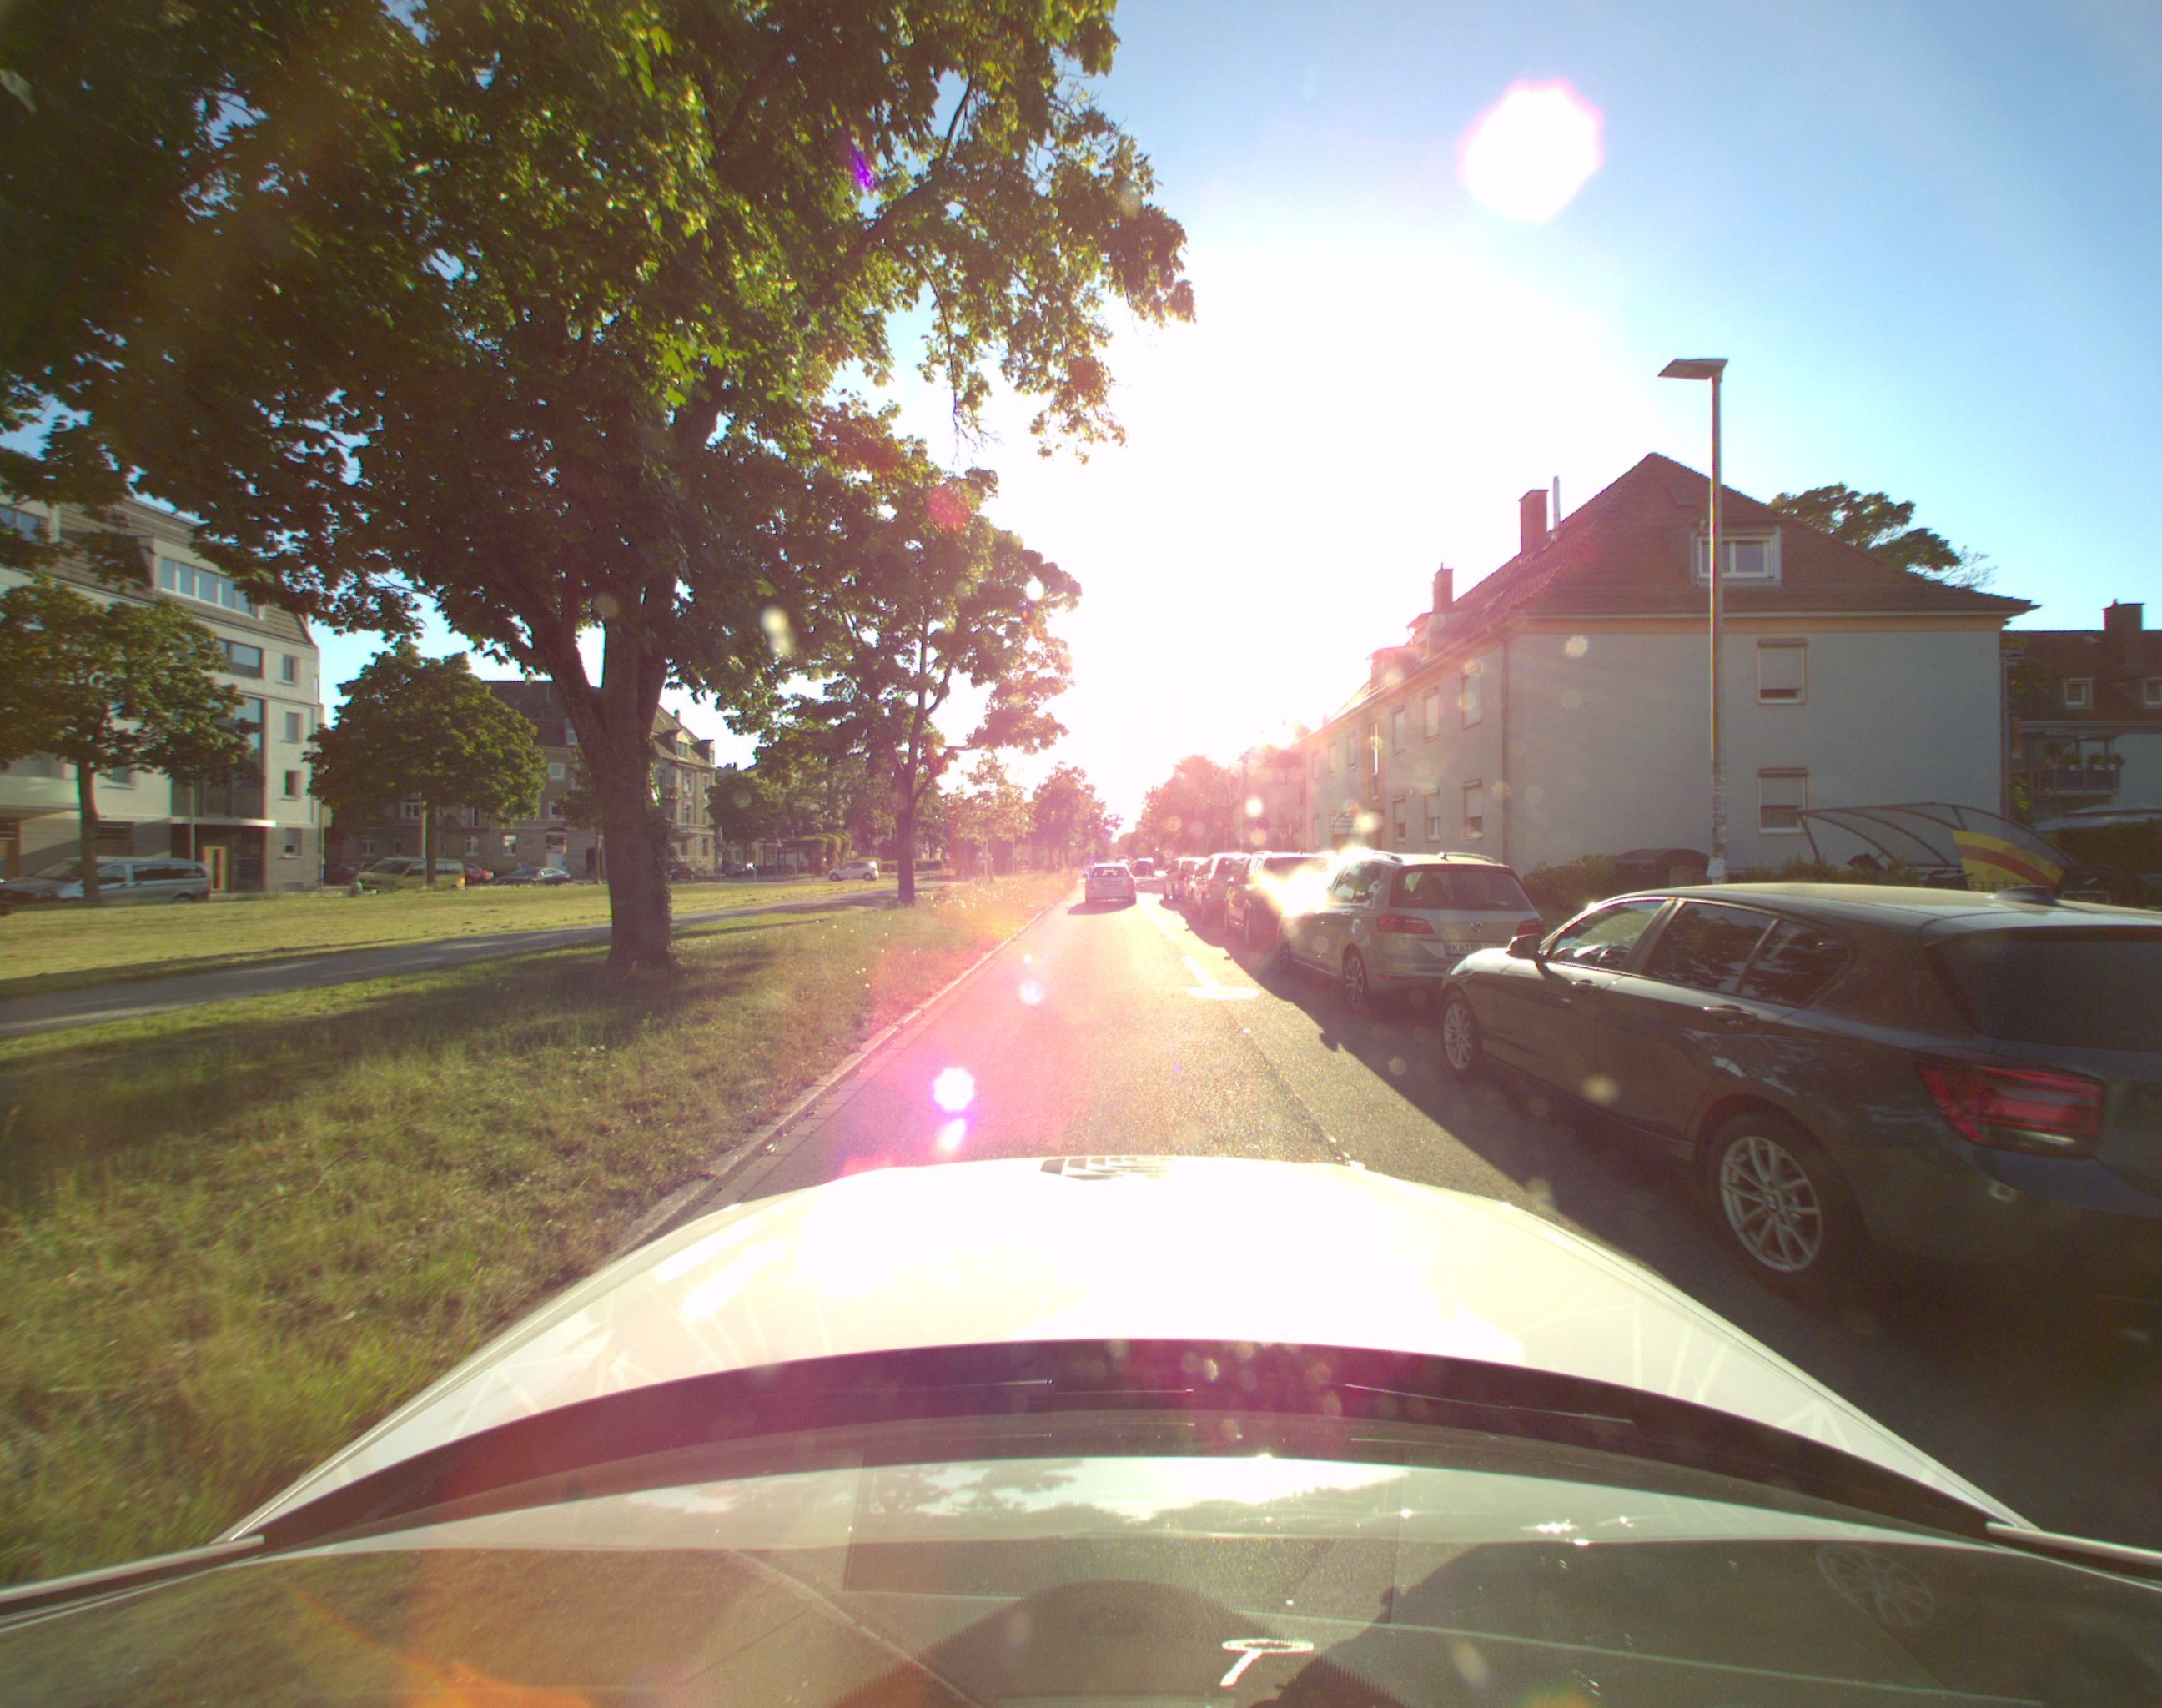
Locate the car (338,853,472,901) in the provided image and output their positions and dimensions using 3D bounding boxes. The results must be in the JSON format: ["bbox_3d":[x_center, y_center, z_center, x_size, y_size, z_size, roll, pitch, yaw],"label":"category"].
[{"bbox_3d":[-32.277,1.087,39.134,1.986,2.057,5.055,-4,-2,2],"label":"car"}]

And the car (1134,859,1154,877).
[{"bbox_3d":[5.748,1.263,74.658,1.714,1.597,4.002,-1,-1,2],"label":"car"}]

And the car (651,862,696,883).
[{"bbox_3d":[-36.588,1.672,73.226,1.636,1.707,4.297,-4,-2,3],"label":"car"}]

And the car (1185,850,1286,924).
[{"bbox_3d":[3.779,0.765,20.650,1.770,1.643,4.758,-1,-1,2],"label":"car"}]

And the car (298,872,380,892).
[{"bbox_3d":[-49.505,1.836,54.362,3.972,1.218,1.695,-1,0,1],"label":"car"}]

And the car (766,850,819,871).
[{"bbox_3d":[-37.968,0.875,107.221,6.332,2.720,1.984,0,-1,-29],"label":"car"}]

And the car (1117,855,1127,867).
[{"bbox_3d":[7.637,1.381,151.015,1.854,2.193,5.073,0,-1,3],"label":"car"}]

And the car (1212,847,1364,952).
[{"bbox_3d":[3.642,0.762,15.213,1.759,1.635,4.765,1,-1,2],"label":"car"}]

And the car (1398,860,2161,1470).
[{"bbox_3d":[3.412,0.785,4.226,1.985,1.462,4.565,1,0,3],"label":"car"}]

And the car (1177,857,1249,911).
[{"bbox_3d":[4.060,0.872,25.584,1.723,1.526,3.736,-2,0,1],"label":"car"}]

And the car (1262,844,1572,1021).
[{"bbox_3d":[3.465,0.713,9.406,1.719,1.561,4.415,0,0,-1],"label":"car"}]

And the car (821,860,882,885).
[{"bbox_3d":[-16.813,1.359,59.829,3.883,1.596,1.999,-4,-2,-2],"label":"car"}]

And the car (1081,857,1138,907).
[{"bbox_3d":[1.036,0.927,28.829,1.816,1.566,4.003,-2,0,2],"label":"car"}]

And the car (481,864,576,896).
[{"bbox_3d":[-32.200,1.491,47.647,1.975,1.637,4.832,-4,-2,4],"label":"car"}]

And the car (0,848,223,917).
[{"bbox_3d":[-32.914,0.948,27.569,2.013,2.001,5.367,-4,-2,-1],"label":"car"}]

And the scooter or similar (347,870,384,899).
[{"bbox_3d":[-28.285,1.204,32.201,0.391,1.127,1.294,1,-1,-5],"label":"scooter or similar"}]

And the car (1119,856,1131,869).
[{"bbox_3d":[7.157,1.346,132.957,1.981,2.023,4.002,0,-1,2],"label":"car"}]

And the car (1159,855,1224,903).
[{"bbox_3d":[4.110,0.897,30.843,1.712,1.639,4.561,2,-1,-1],"label":"car"}]

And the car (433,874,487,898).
[{"bbox_3d":[-43.966,2.229,57.623,3.551,1.481,1.695,1,1,28],"label":"car"}]
